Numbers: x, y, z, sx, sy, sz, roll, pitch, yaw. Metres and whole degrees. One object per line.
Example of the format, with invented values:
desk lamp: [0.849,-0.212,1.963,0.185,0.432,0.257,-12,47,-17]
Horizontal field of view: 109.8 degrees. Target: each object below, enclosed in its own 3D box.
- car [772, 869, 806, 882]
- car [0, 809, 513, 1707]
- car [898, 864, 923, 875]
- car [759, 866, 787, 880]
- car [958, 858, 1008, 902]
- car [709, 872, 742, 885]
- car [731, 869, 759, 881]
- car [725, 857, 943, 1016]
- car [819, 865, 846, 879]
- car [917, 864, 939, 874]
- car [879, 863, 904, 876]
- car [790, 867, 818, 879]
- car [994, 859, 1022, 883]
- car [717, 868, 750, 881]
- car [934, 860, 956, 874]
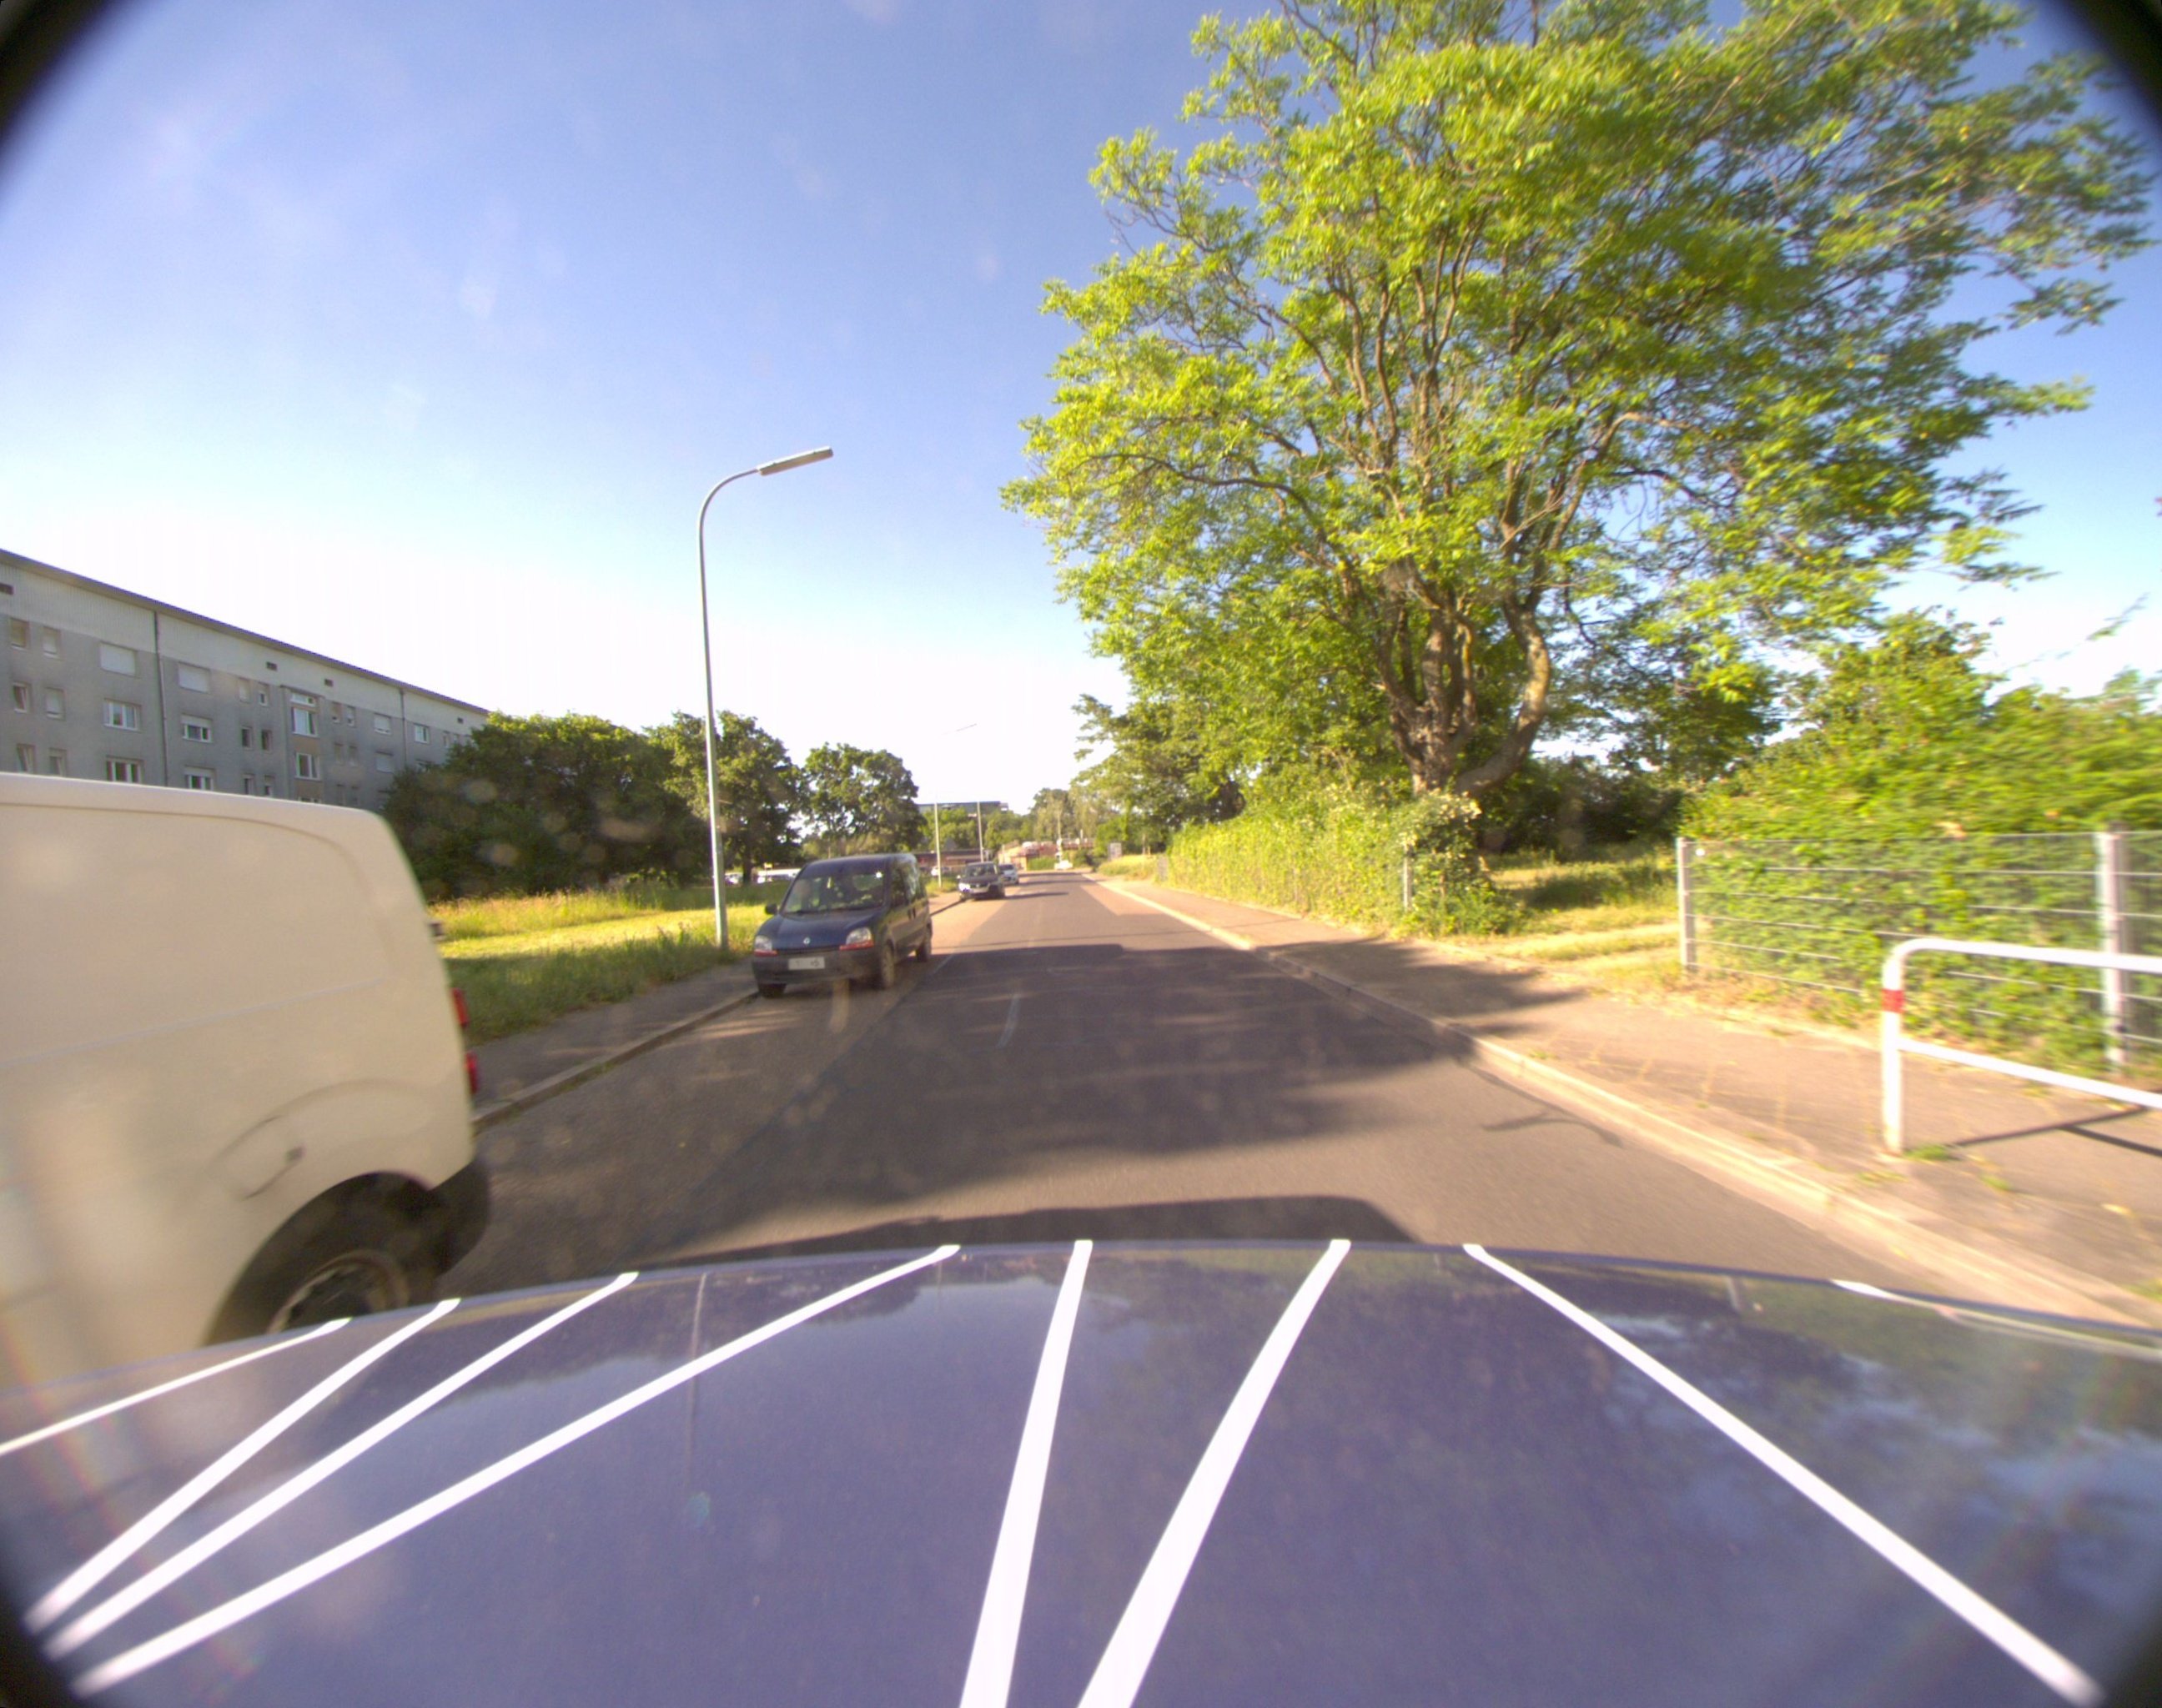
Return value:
car: [-38.420,2.850,100.120,3.633,1.515,2.002,-2,0,15]
car: [-2.898,0.914,0.135,1.920,1.861,4.864,-4,0,-2]
car: [-24.288,2.196,108.449,1.862,1.461,4.003,-2,0,11]
car: [-45.881,2.799,113.185,1.997,2.002,4.002,-2,0,9]
car: [-4.156,1.058,32.834,1.844,1.642,4.467,-4,0,-5]
car: [-48.134,3.312,102.896,3.633,1.442,2.002,-2,0,15]
car: [-50.567,3.191,114.499,1.798,1.552,4.003,-2,0,11]
car: [-3.248,0.969,10.889,1.702,1.720,4.083,-4,0,-1]
car: [-36.345,2.557,111.151,1.954,1.763,4.002,-2,2,11]
car: [-21.566,2.127,107.465,1.779,1.316,4.002,-2,0,8]
car: [-26.871,2.185,108.066,1.859,1.763,4.003,-2,0,11]
car: [-40.789,2.814,112.073,1.954,1.552,4.003,-2,0,11]
car: [-5.053,1.138,53.100,1.656,1.471,3.915,-5,0,-3]
car: [-52.791,3.169,115.529,1.953,1.735,4.708,-2,0,15]
car: [-19.203,1.805,107.222,1.955,1.849,4.001,-2,0,5]
